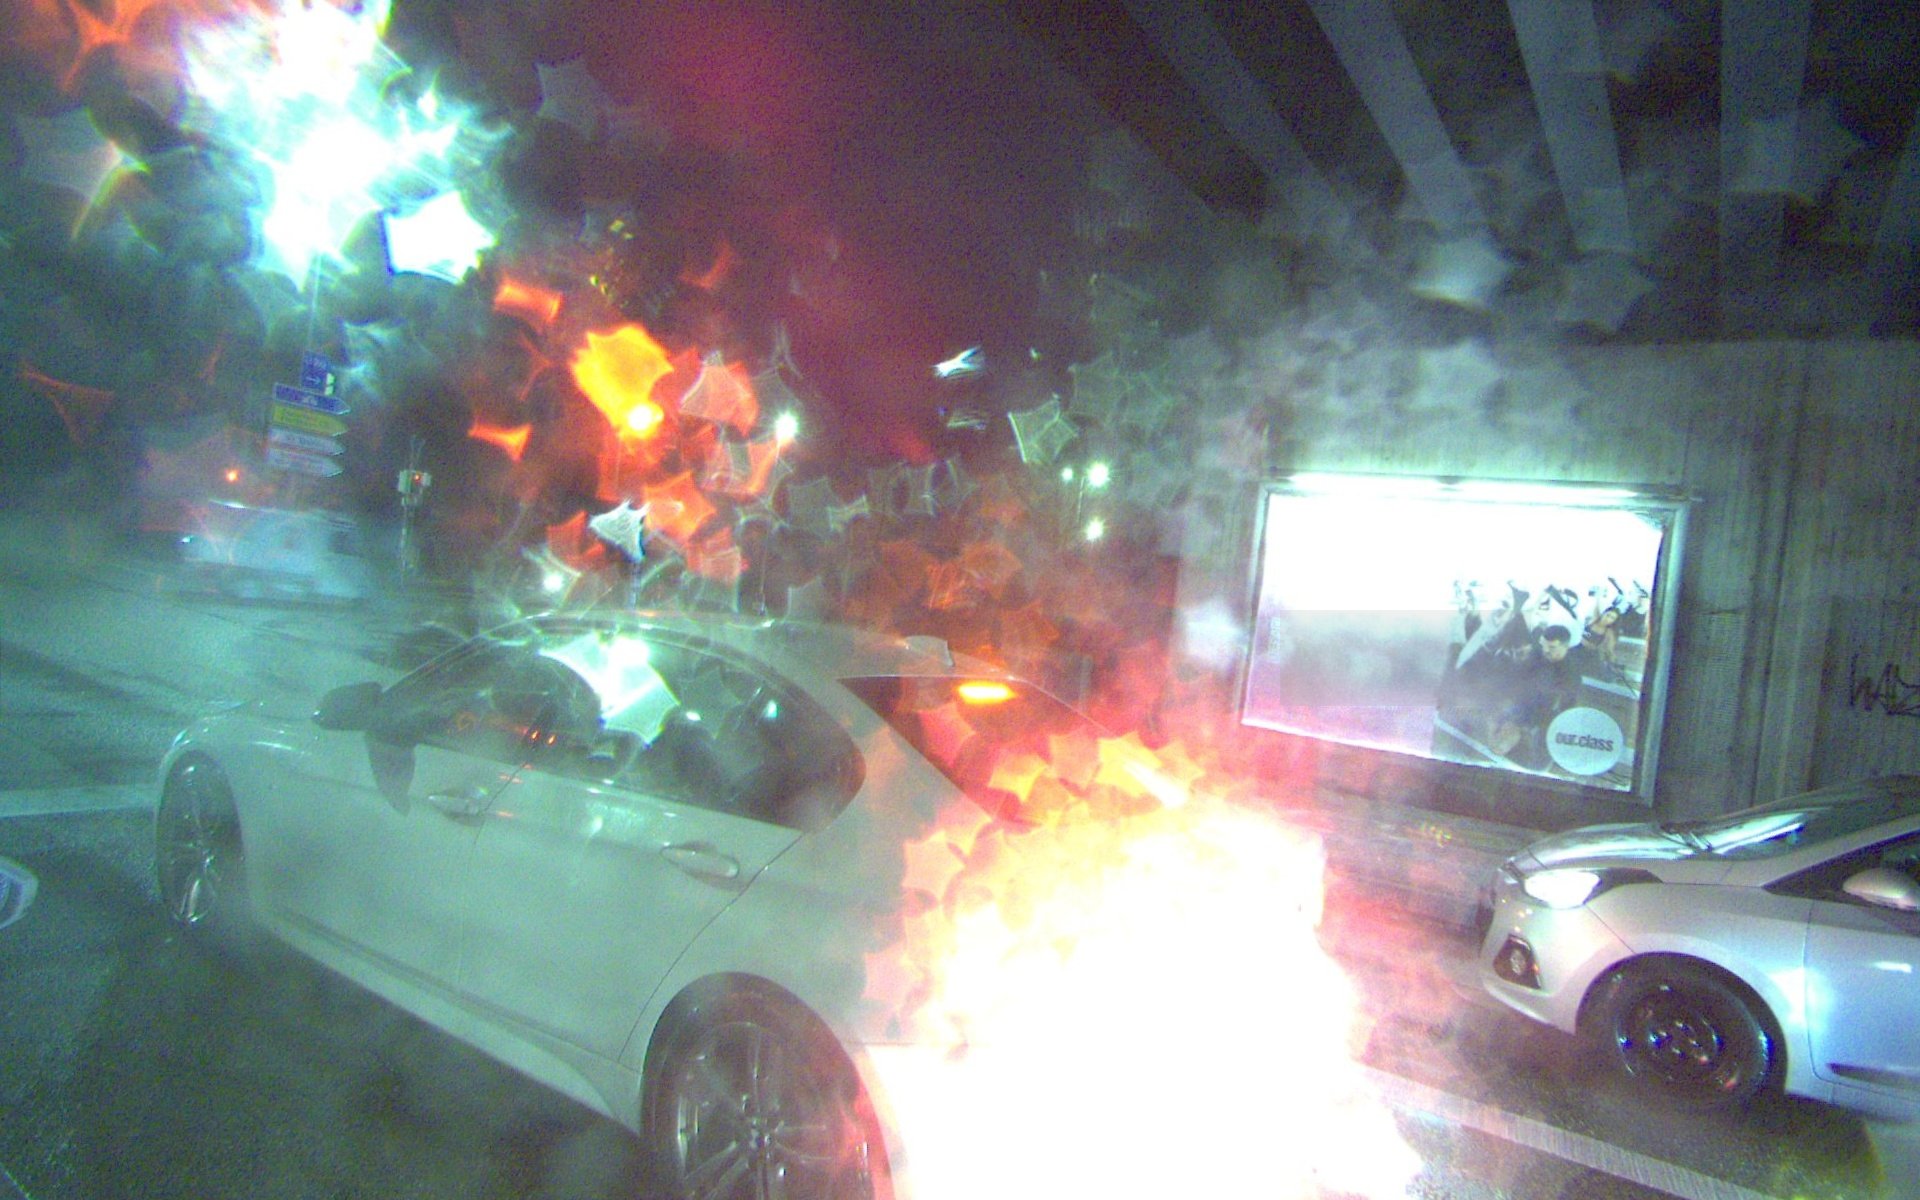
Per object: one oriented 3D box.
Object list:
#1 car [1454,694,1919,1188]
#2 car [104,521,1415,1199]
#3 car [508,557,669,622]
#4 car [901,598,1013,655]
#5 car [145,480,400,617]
[{"bbox_3d":[4.316,1.406,3.926,4.091,1.465,1.722,6,0,29],"label":"car"},{"bbox_3d":[-0.933,0.678,3.484,4.309,1.465,1.722,6,0,31],"label":"car"},{"bbox_3d":[-12.705,-0.311,34.669,1.826,1.609,4.850,6,-2,38],"label":"car"},{"bbox_3d":[-0.044,1.075,39.491,1.930,1.692,4.401,6,-2,39],"label":"car"},{"bbox_3d":[-12.974,-0.920,19.133,1.680,2.037,3.553,6,-2,41],"label":"car"}]
